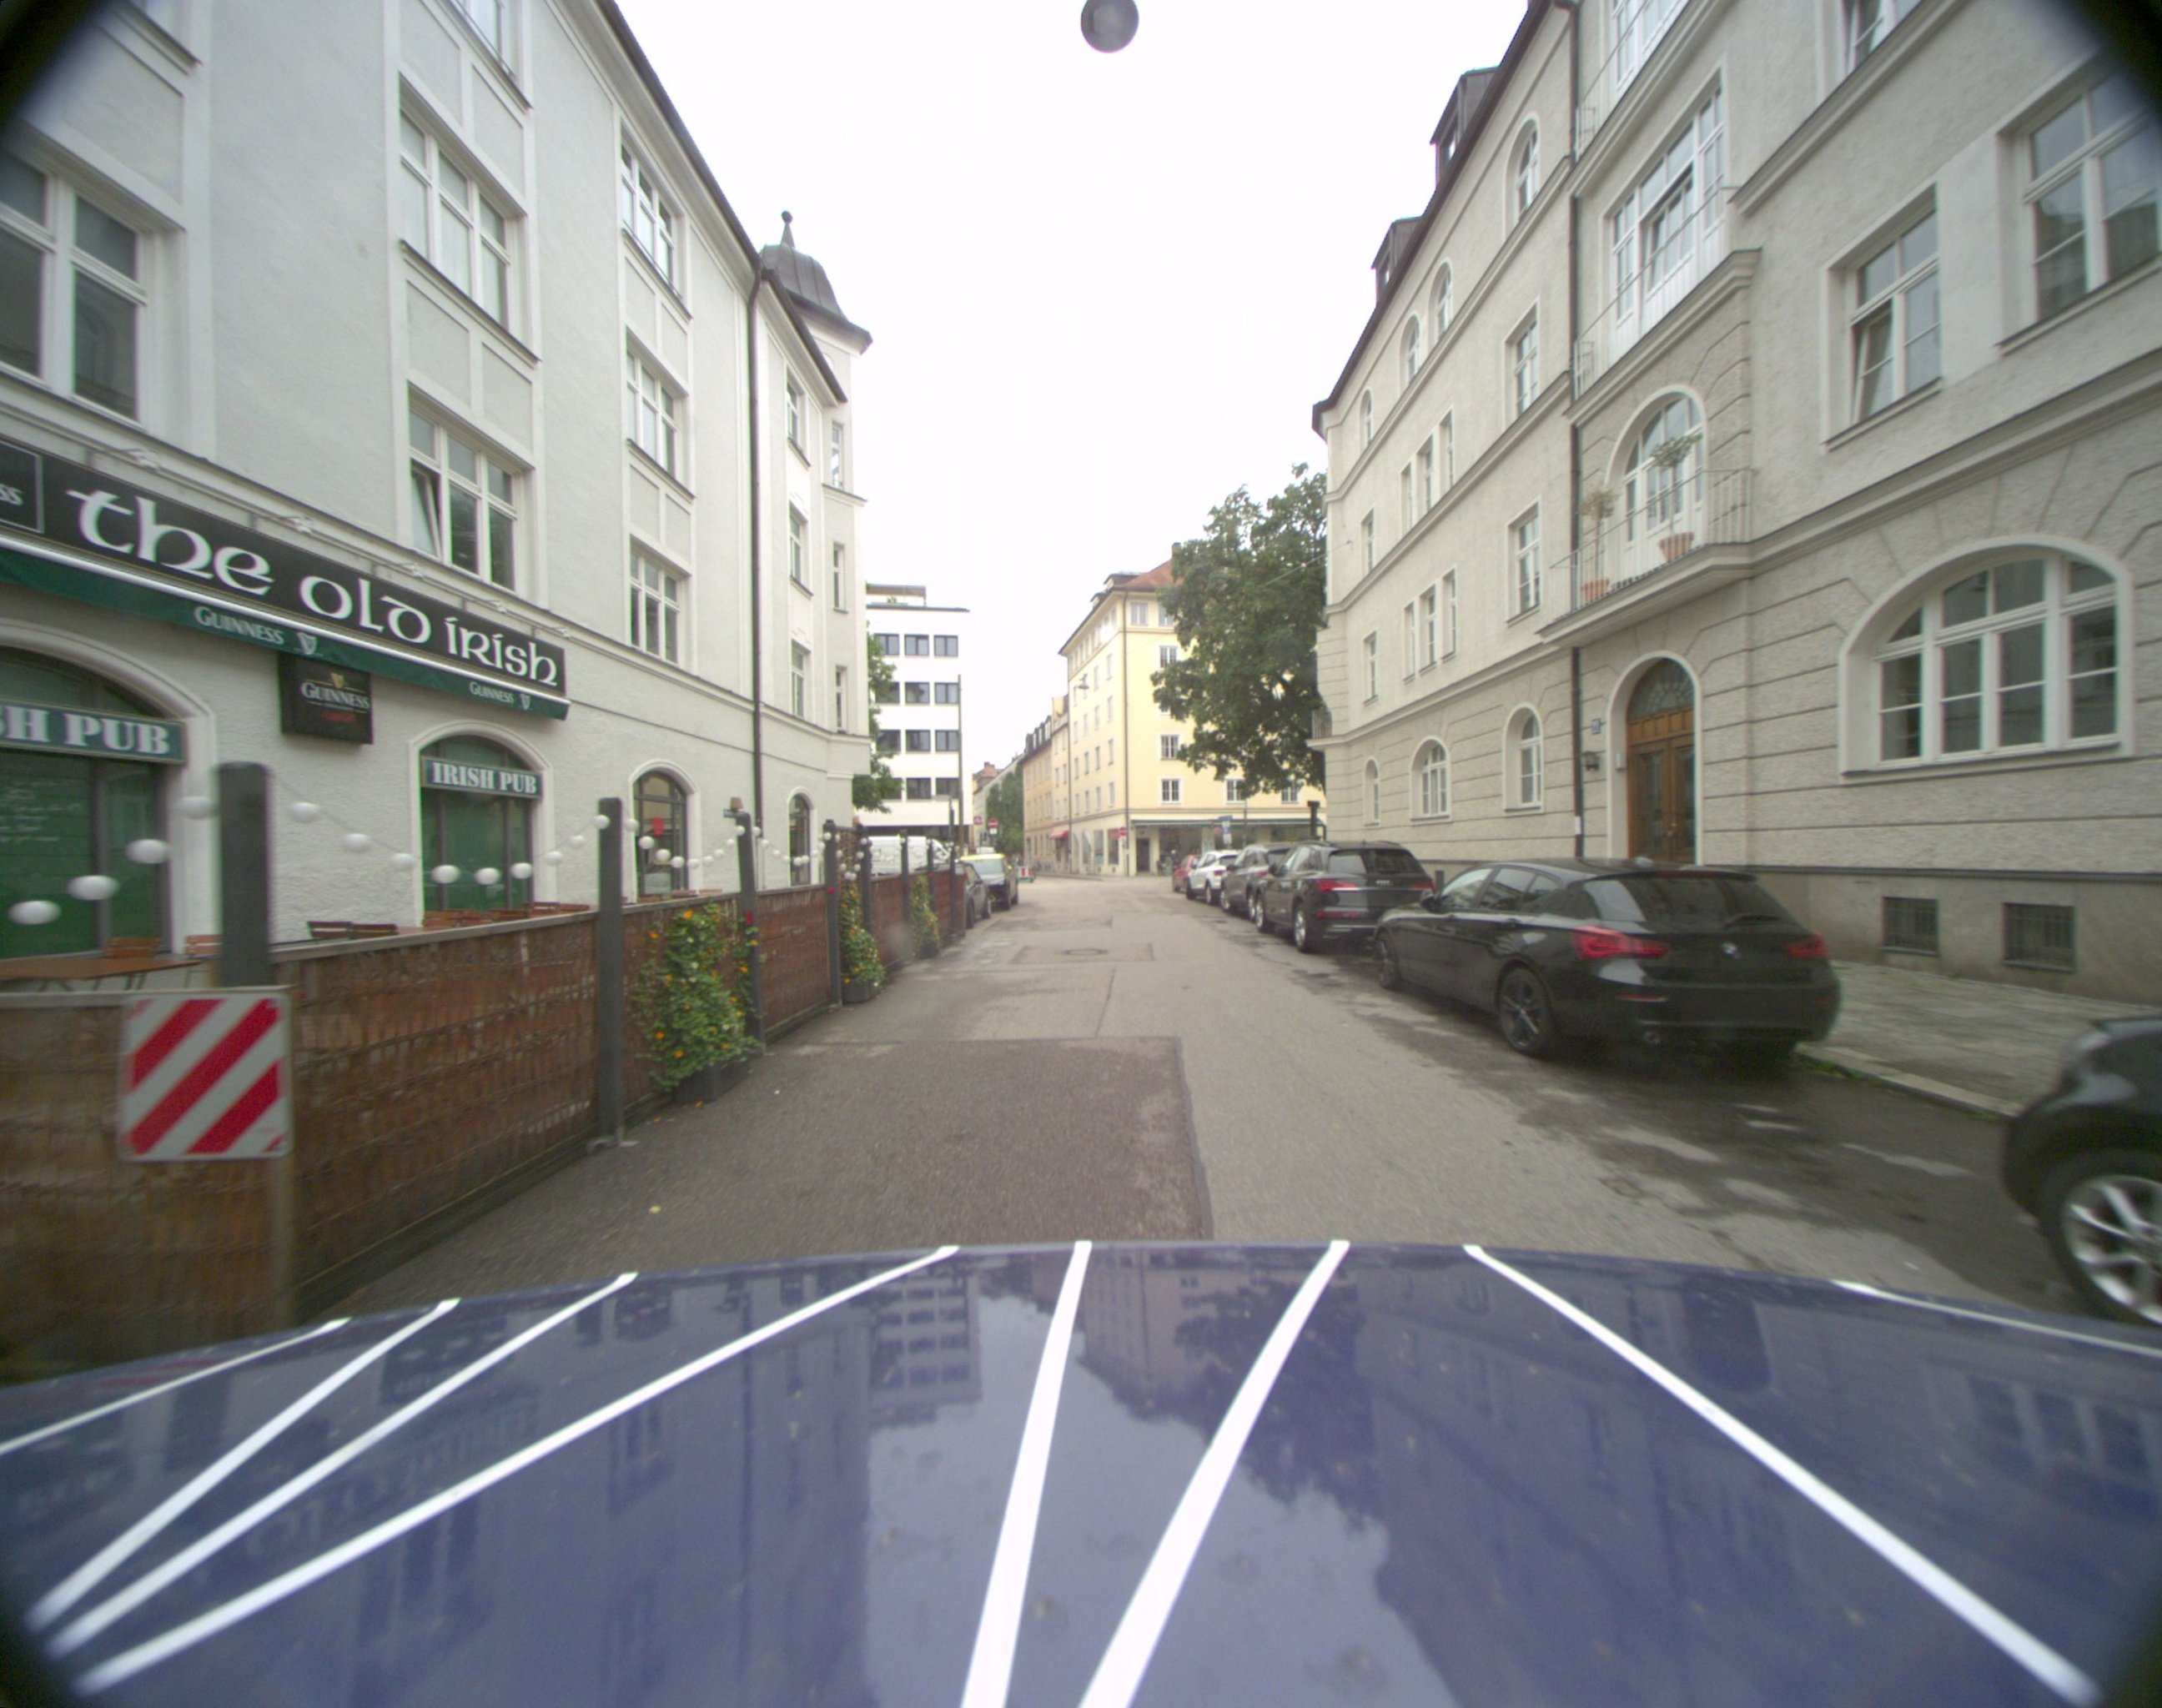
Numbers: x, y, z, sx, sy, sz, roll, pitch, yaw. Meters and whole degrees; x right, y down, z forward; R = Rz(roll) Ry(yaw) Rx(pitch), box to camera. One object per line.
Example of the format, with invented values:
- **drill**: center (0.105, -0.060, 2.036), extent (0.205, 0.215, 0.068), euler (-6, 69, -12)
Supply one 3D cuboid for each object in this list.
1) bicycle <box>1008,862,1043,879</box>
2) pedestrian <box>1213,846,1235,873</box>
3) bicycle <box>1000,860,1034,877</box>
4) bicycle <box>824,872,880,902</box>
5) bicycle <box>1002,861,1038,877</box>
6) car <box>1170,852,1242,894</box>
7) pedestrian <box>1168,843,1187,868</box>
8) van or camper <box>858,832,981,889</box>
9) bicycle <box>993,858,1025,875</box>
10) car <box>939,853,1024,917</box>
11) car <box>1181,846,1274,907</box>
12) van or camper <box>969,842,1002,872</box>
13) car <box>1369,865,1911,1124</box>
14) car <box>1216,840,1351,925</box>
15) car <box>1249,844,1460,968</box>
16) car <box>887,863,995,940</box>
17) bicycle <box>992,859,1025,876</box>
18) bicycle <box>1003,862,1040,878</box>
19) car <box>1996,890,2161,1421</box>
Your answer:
- **bicycle**: center (-3.429, 0.987, 46.745), extent (1.995, 0.958, 0.972), euler (-1, 1, -12)
- **pedestrian**: center (8.993, 0.329, 47.947), extent (1.125, 1.667, 0.870), euler (-1, 1, -9)
- **bicycle**: center (-4.198, 0.960, 50.104), extent (2.106, 1.026, 0.974), euler (-1, 1, -12)
- **bicycle**: center (-9.140, 1.324, 30.398), extent (2.009, 1.124, 0.687), euler (-1, 1, 4)
- **bicycle**: center (-3.947, 0.991, 49.031), extent (2.175, 0.958, 0.974), euler (-1, 1, -12)
- **car**: center (4.383, 0.624, 27.223), extent (1.685, 1.385, 4.478), euler (0, 0, -2)
- **pedestrian**: center (6.207, 0.114, 48.776), extent (0.920, 1.601, 0.777), euler (-1, 1, 30)
- **van or camper**: center (-8.113, 0.336, 38.730), extent (5.870, 2.697, 2.304), euler (-1, -2, -8)
- **bicycle**: center (-5.099, 0.900, 54.111), extent (2.182, 1.139, 0.674), euler (-1, 1, -12)
- **car**: center (-2.848, 0.848, 22.618), extent (1.841, 1.609, 4.094), euler (-4, 0, 0)
- **car**: center (4.188, 0.578, 22.321), extent (1.699, 1.559, 3.949), euler (-1, 1, -4)
- **van or camper**: center (-8.447, 0.229, 66.785), extent (1.968, 2.494, 5.715), euler (-1, 0, -16)
- **car**: center (4.007, 0.842, 6.457), extent (1.658, 1.399, 4.091), euler (0, 1, 1)
- **car**: center (4.447, 0.567, 17.363), extent (1.841, 1.668, 4.212), euler (-1, 0, -2)
- **car**: center (4.080, 0.671, 12.194), extent (1.881, 1.590, 4.434), euler (-1, 0, 1)
- **car**: center (-3.006, 0.970, 16.986), extent (1.670, 1.392, 3.492), euler (-4, 0, 0)
- **bicycle**: center (-5.015, 0.911, 52.524), extent (2.209, 1.139, 0.739), euler (-1, 1, -12)
- **bicycle**: center (-3.775, 1.006, 47.885), extent (2.178, 0.971, 0.974), euler (-1, 1, -12)
- **car**: center (3.954, 0.887, 0.818), extent (1.620, 1.504, 3.530), euler (0, 1, -2)
